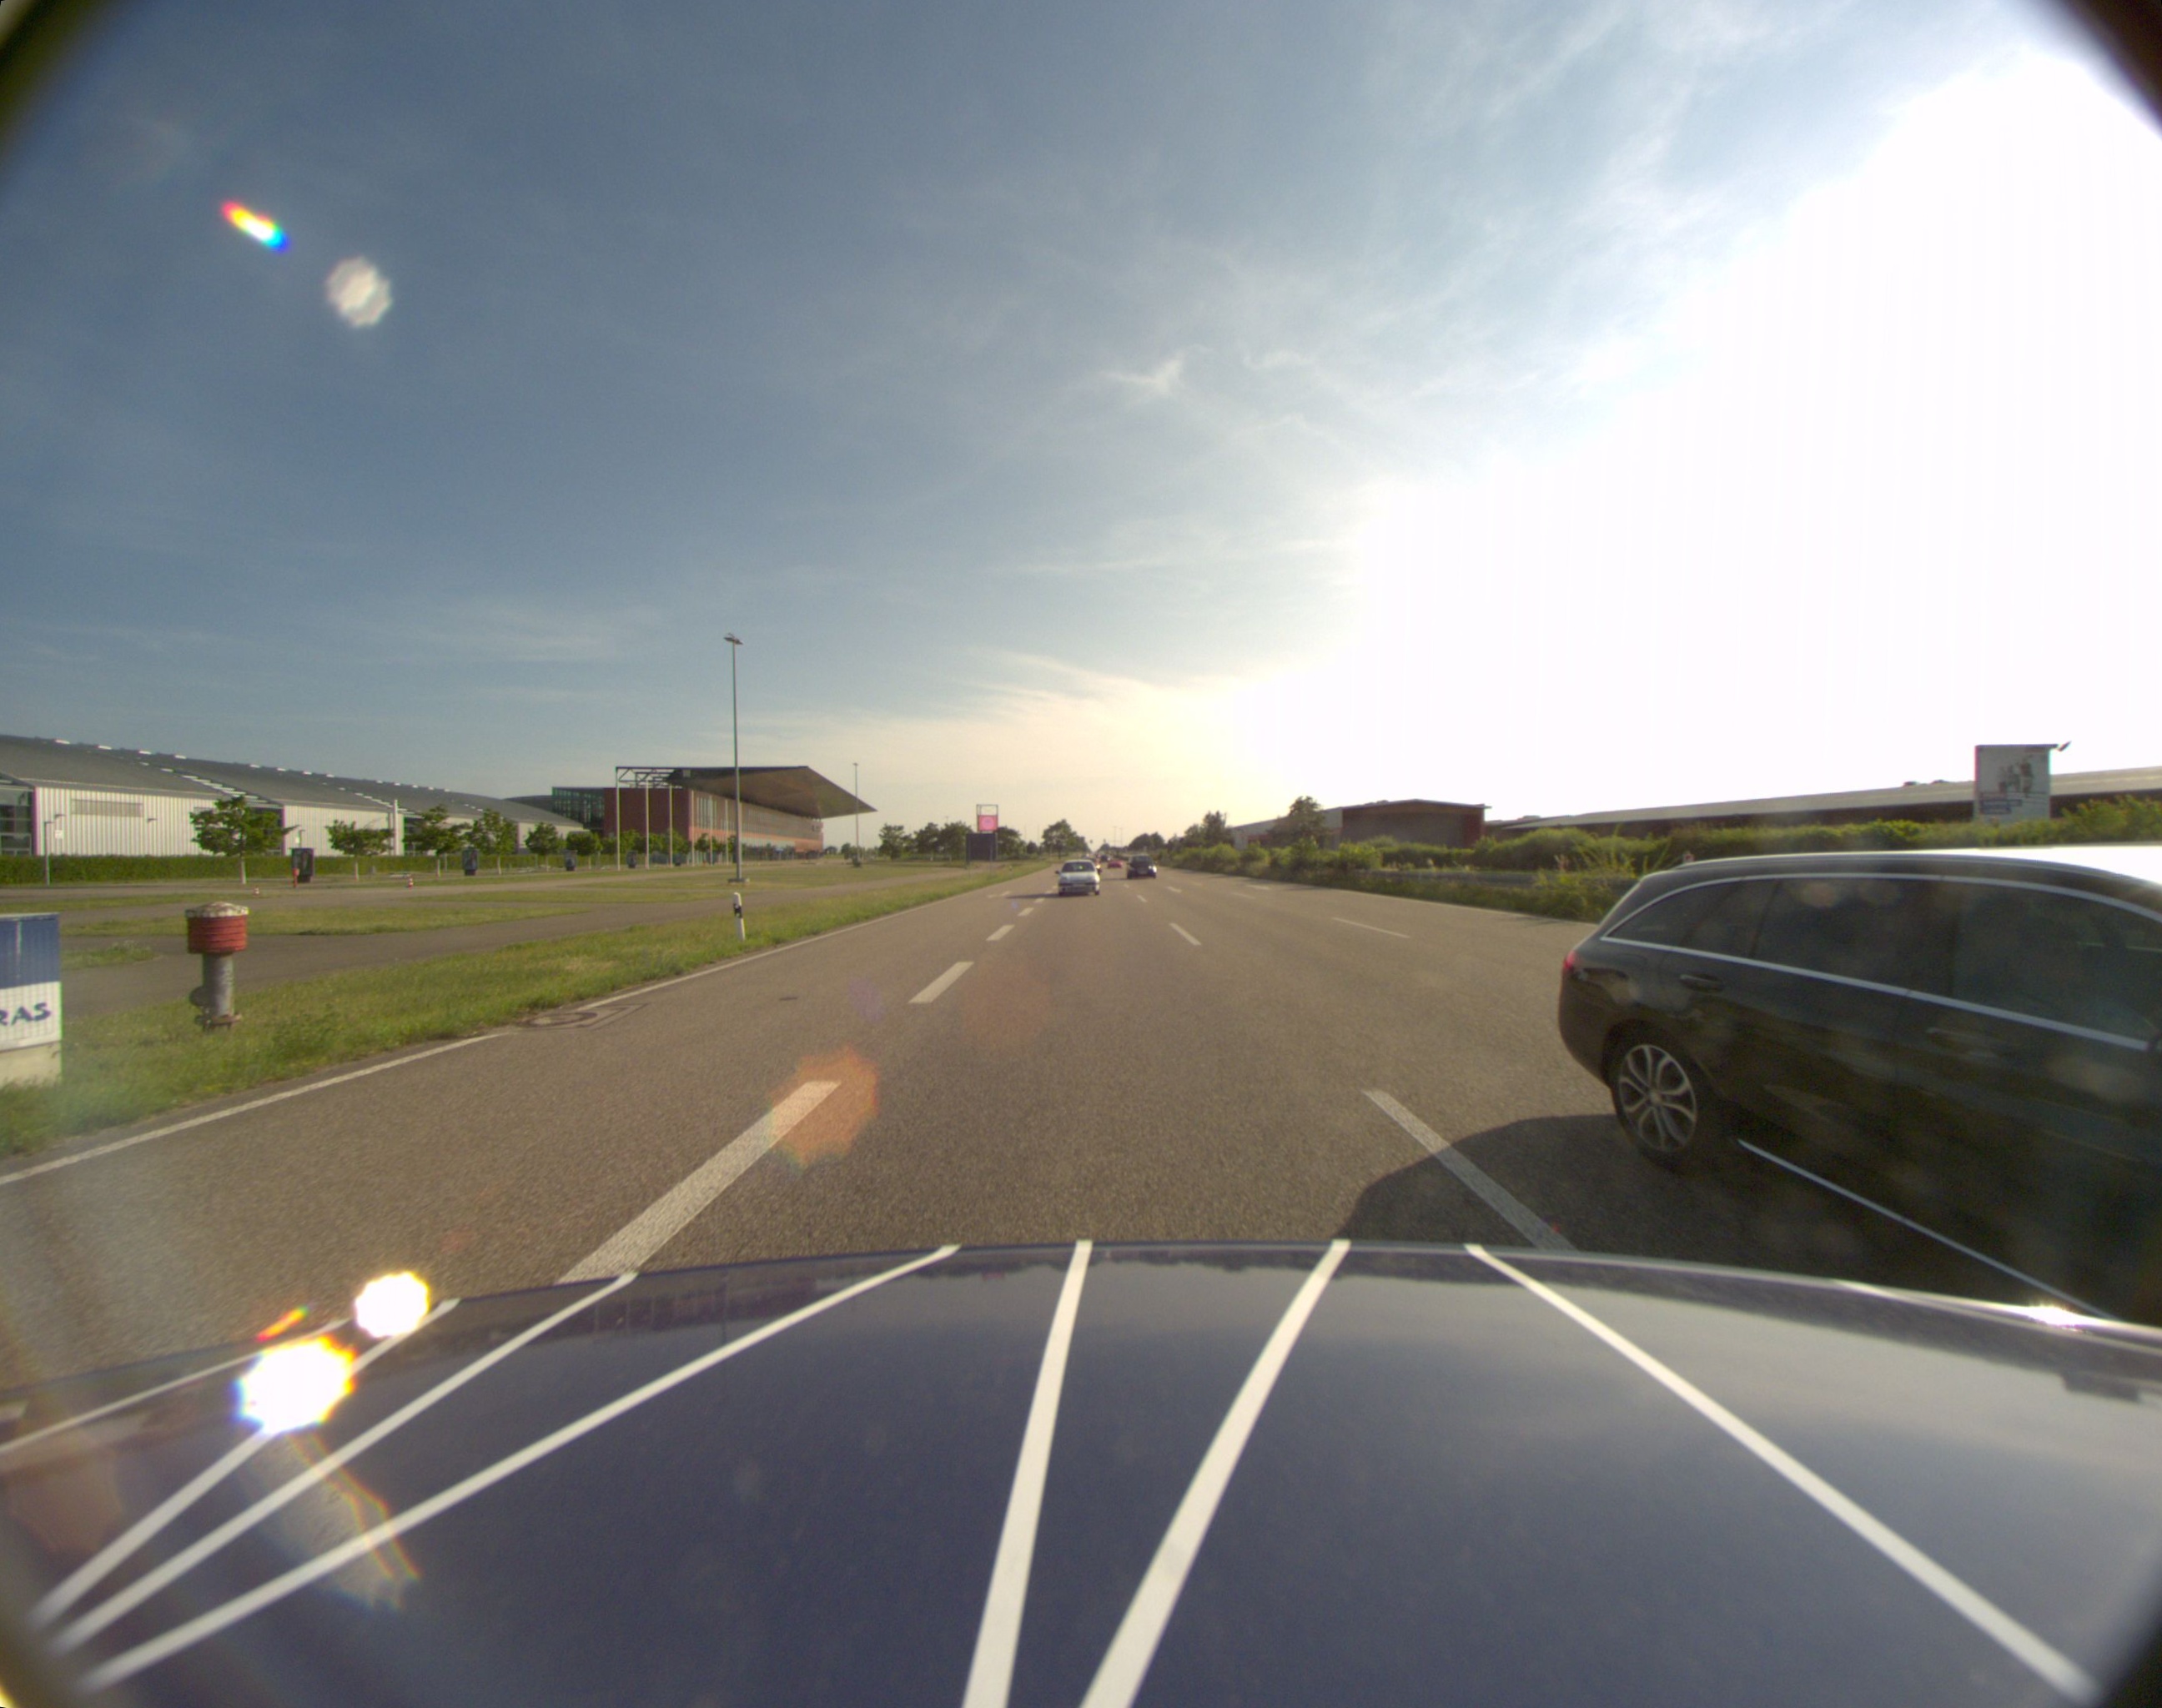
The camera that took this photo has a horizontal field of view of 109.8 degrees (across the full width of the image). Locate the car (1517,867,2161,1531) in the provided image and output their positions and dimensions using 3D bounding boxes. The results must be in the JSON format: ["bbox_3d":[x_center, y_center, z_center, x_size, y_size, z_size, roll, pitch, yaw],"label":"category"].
[{"bbox_3d":[3.304,0.836,1.941,1.576,1.462,5.022,-1,0,1],"label":"car"}]

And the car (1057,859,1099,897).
[{"bbox_3d":[-0.077,0.930,30.875,1.578,1.371,3.452,-1,0,1],"label":"car"}]

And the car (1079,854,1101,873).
[{"bbox_3d":[0.782,0.811,65.897,1.751,1.512,3.739,-1,0,1],"label":"car"}]

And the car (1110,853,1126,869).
[{"bbox_3d":[4.492,0.808,93.901,1.799,1.926,4.000,-1,1,1],"label":"car"}]

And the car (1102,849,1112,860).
[{"bbox_3d":[5.054,0.070,148.290,1.998,2.002,4.000,-1,1,1],"label":"car"}]

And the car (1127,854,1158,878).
[{"bbox_3d":[4.016,0.753,50.104,1.758,1.499,3.422,-1,0,0],"label":"car"}]
